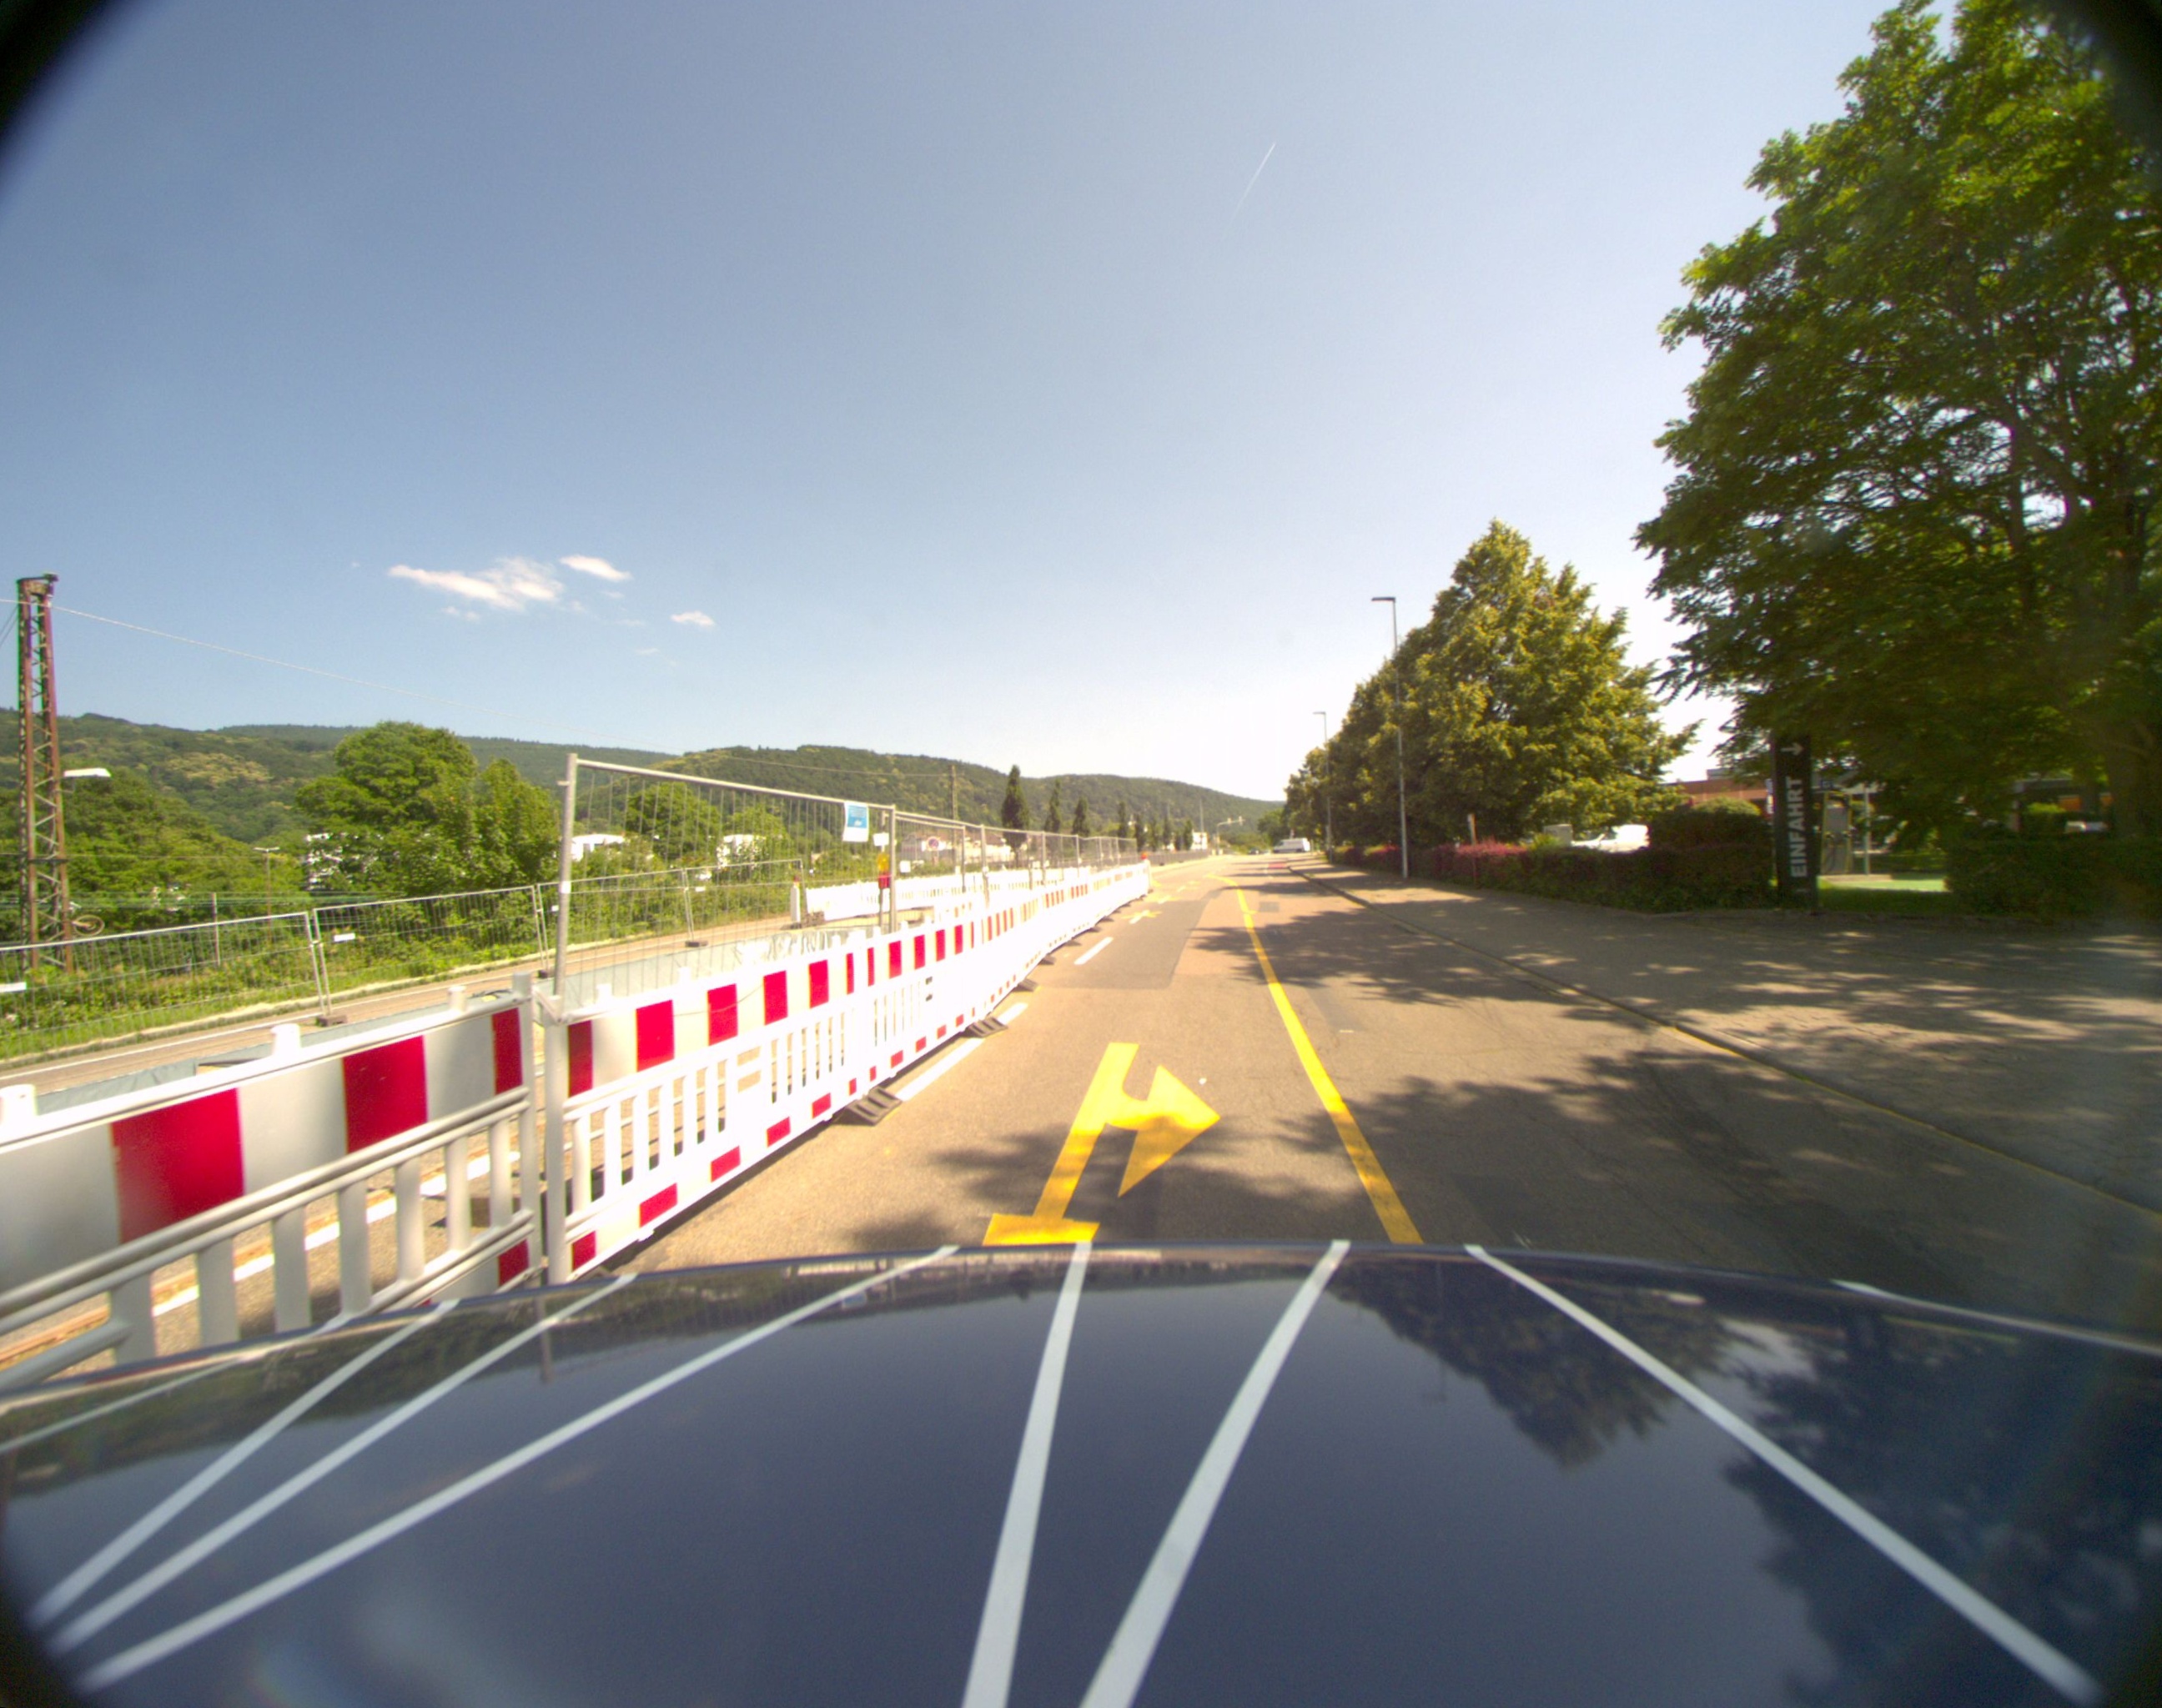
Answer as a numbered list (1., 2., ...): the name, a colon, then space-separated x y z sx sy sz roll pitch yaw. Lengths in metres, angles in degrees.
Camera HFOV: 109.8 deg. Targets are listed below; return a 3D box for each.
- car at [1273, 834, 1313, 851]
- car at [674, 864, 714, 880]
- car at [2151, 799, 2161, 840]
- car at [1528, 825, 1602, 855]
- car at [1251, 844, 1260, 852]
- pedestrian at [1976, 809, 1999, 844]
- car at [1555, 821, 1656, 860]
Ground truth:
1. car: 34.516 -1.853 123.770 5.612 2.332 2.316 -5 2 41
2. car: -64.143 3.014 125.988 2.131 2.090 5.526 -8 0 24
3. car: 44.394 -1.471 29.219 3.867 1.567 1.819 -4 0 0
4. car: 32.812 -0.925 51.666 1.760 1.788 4.225 -4 0 -10
5. car: 32.599 -1.107 141.955 1.608 1.248 3.686 -3 0 12
6. pedestrian: 38.771 -1.187 32.505 0.514 1.471 0.537 -3 1 40
7. car: 28.112 -0.701 40.778 4.353 1.816 1.748 -3 0 -6
